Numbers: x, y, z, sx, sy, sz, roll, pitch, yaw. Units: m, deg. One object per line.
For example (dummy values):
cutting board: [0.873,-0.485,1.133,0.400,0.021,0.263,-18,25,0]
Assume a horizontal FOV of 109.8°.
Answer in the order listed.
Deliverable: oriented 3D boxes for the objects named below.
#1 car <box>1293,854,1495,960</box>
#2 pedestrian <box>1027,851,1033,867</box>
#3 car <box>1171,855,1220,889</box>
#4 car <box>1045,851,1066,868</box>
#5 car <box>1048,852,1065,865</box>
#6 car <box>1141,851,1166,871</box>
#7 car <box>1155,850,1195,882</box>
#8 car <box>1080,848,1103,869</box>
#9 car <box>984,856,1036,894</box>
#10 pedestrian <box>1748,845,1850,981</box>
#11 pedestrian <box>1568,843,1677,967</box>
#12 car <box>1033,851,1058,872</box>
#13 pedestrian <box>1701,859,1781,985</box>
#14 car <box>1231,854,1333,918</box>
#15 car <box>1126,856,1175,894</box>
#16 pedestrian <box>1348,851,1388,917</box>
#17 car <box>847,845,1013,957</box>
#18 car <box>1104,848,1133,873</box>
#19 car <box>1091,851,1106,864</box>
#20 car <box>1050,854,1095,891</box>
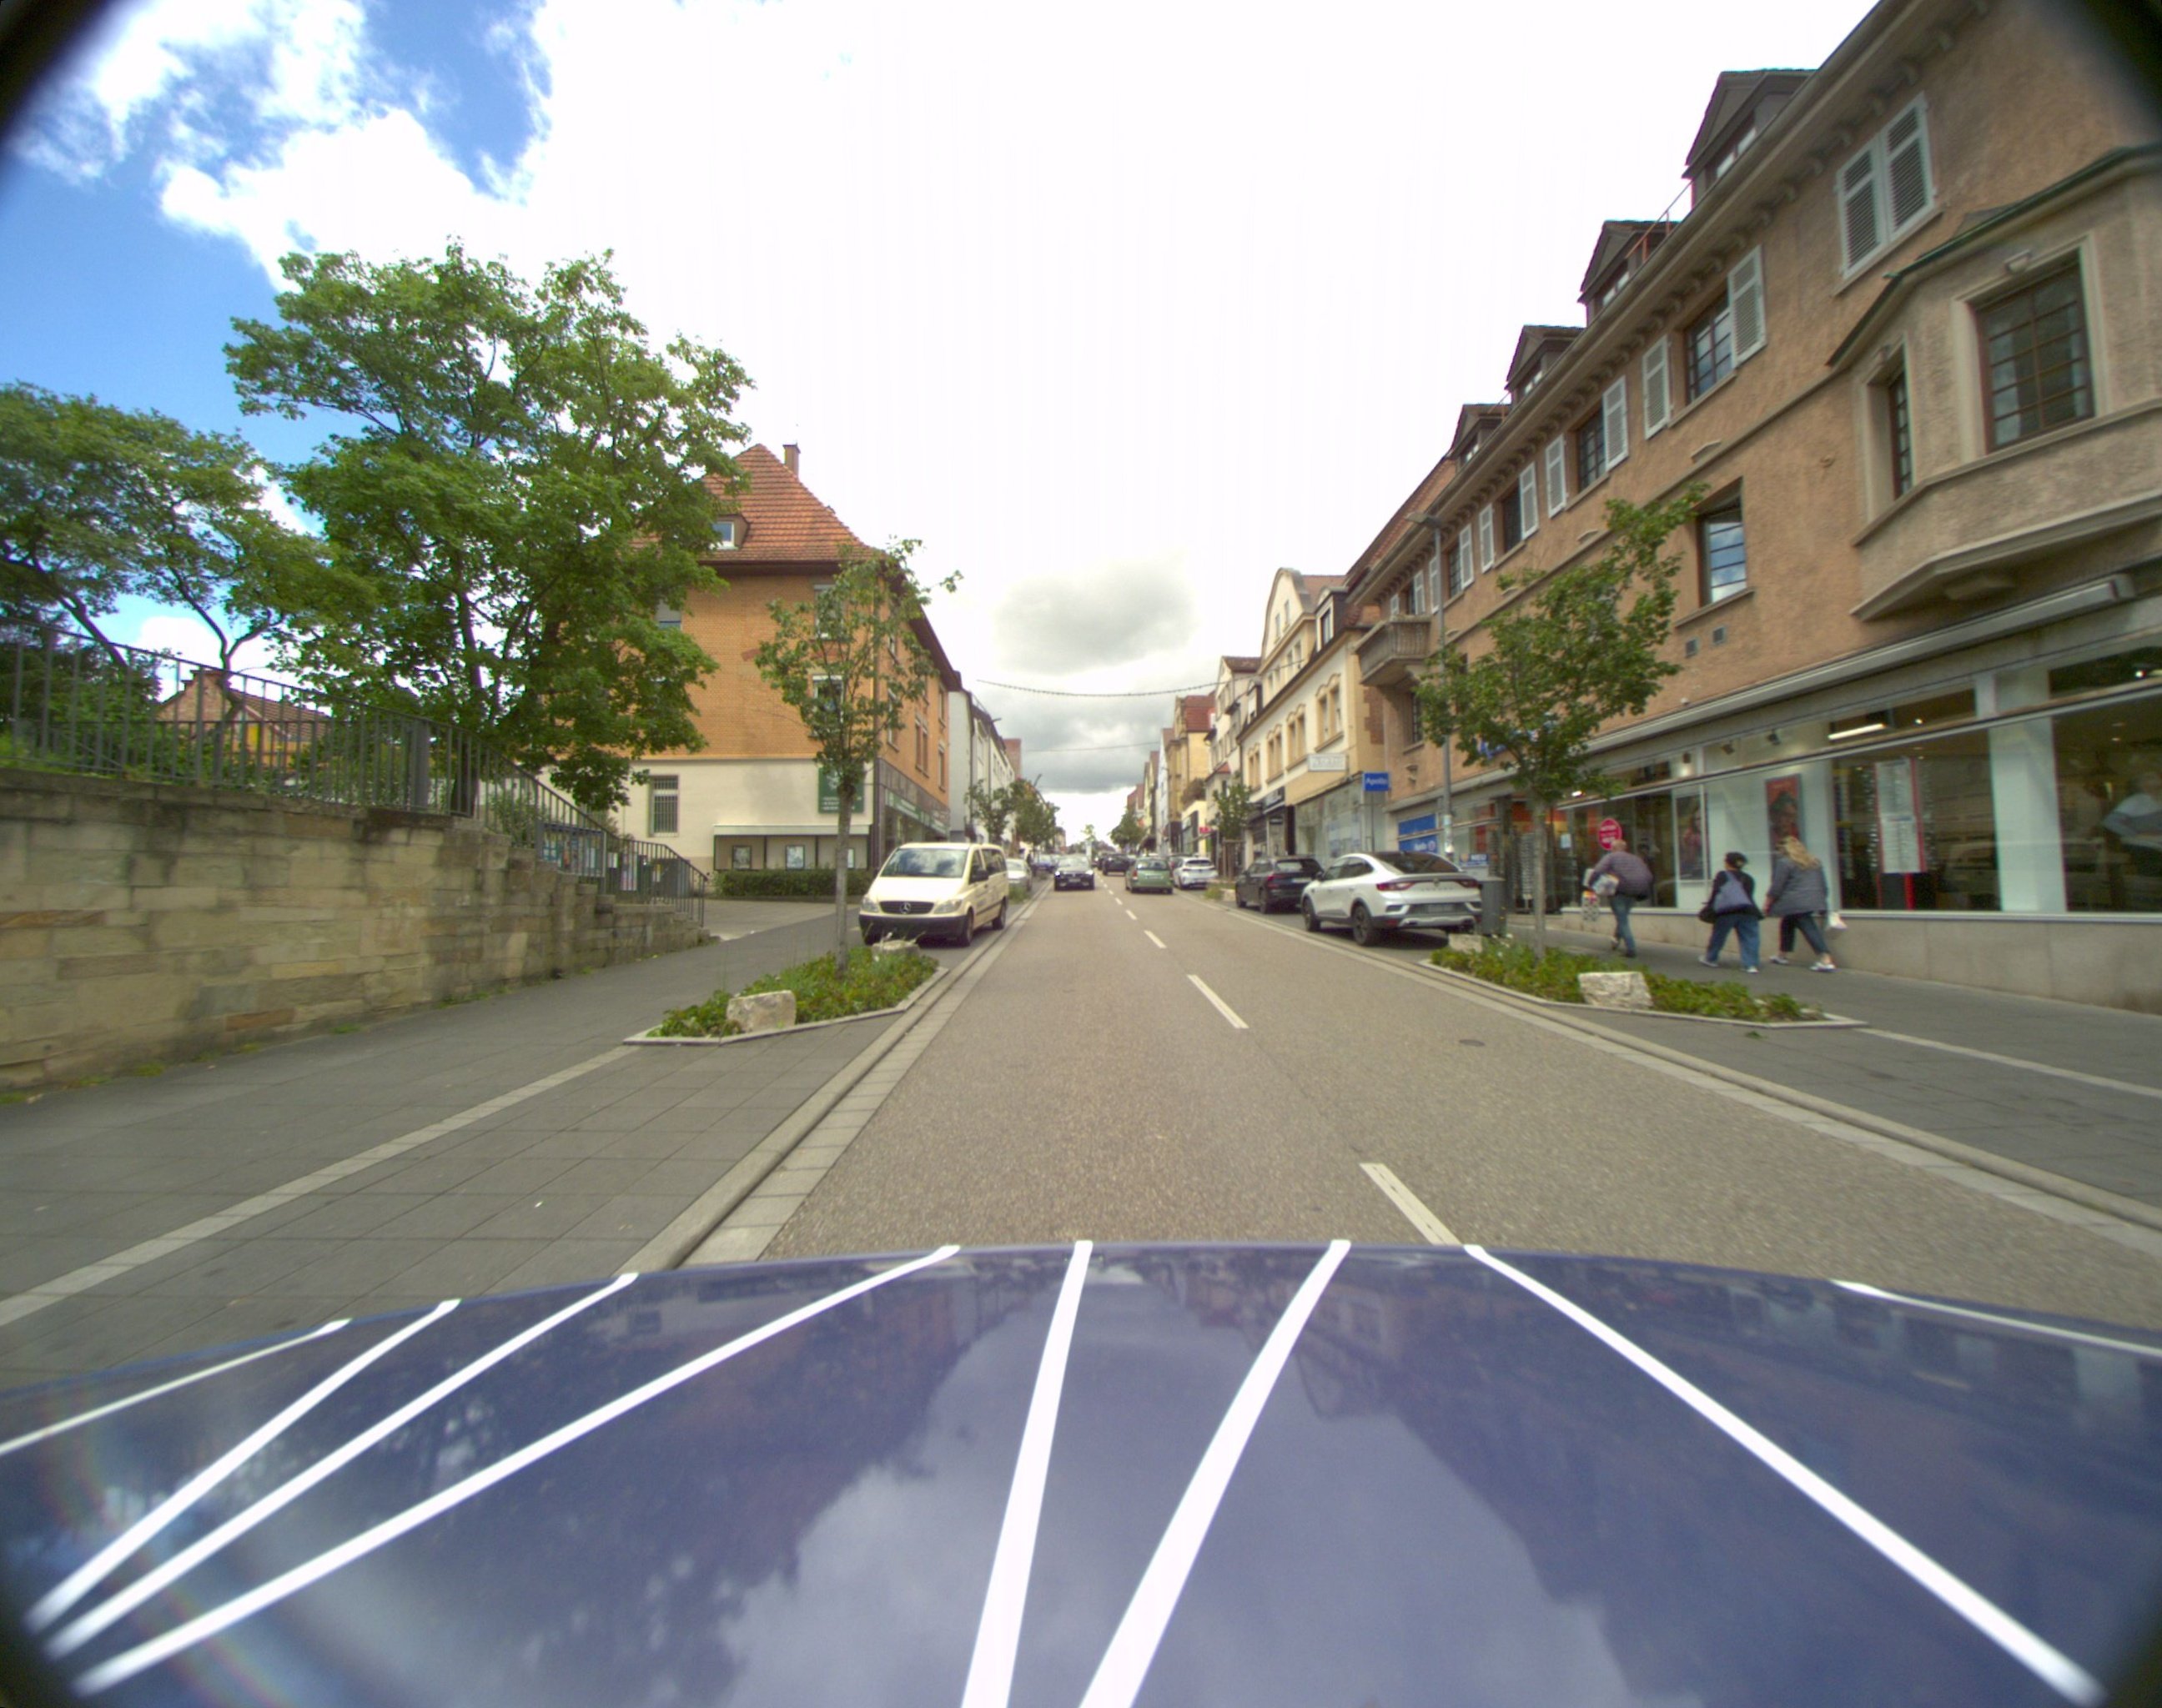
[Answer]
car: [5.385,0.800,13.781,1.730,1.564,4.454,-1,0,-2]
pedestrian: [-4.792,0.485,71.055,0.549,1.515,0.412,0,1,0]
car: [5.202,0.781,34.850,1.732,1.423,3.503,-1,1,0]
car: [-2.272,0.505,69.668,1.774,1.515,3.529,0,1,0]
car: [-2.675,0.513,83.162,1.690,1.365,3.529,0,1,0]
car: [5.688,0.515,59.957,1.690,1.515,3.529,0,1,0]
car: [5.179,0.612,42.247,1.732,1.670,3.991,-1,1,0]
car: [0.870,0.372,65.448,1.894,1.670,3.735,1,1,0]
car: [-2.968,0.839,32.453,1.816,1.439,3.945,2,0,-1]
pedestrian: [8.645,0.681,9.165,0.615,1.573,0.642,-1,1,-2]
pedestrian: [7.584,0.685,10.688,0.872,1.656,0.906,-1,1,-2]
car: [-2.765,0.574,59.545,1.774,1.515,3.529,0,1,0]
pedestrian: [7.939,0.797,9.151,0.497,1.469,0.528,-1,1,-2]
car: [5.485,0.812,21.239,1.668,1.517,3.962,-2,0,-2]
car: [2.888,0.829,32.379,1.686,1.492,4.153,0,0,0]
pedestrian: [7.060,0.734,18.739,0.629,1.564,0.650,-5,1,0]
car: [-2.733,0.765,15.093,1.889,1.836,5.032,0,0,5]
car: [2.586,0.411,52.997,1.830,1.679,3.859,0,1,0]
car: [2.041,0.399,90.285,1.690,1.403,3.529,0,1,0]
car: [-0.357,0.810,35.154,1.894,1.515,3.735,-2,1,0]
